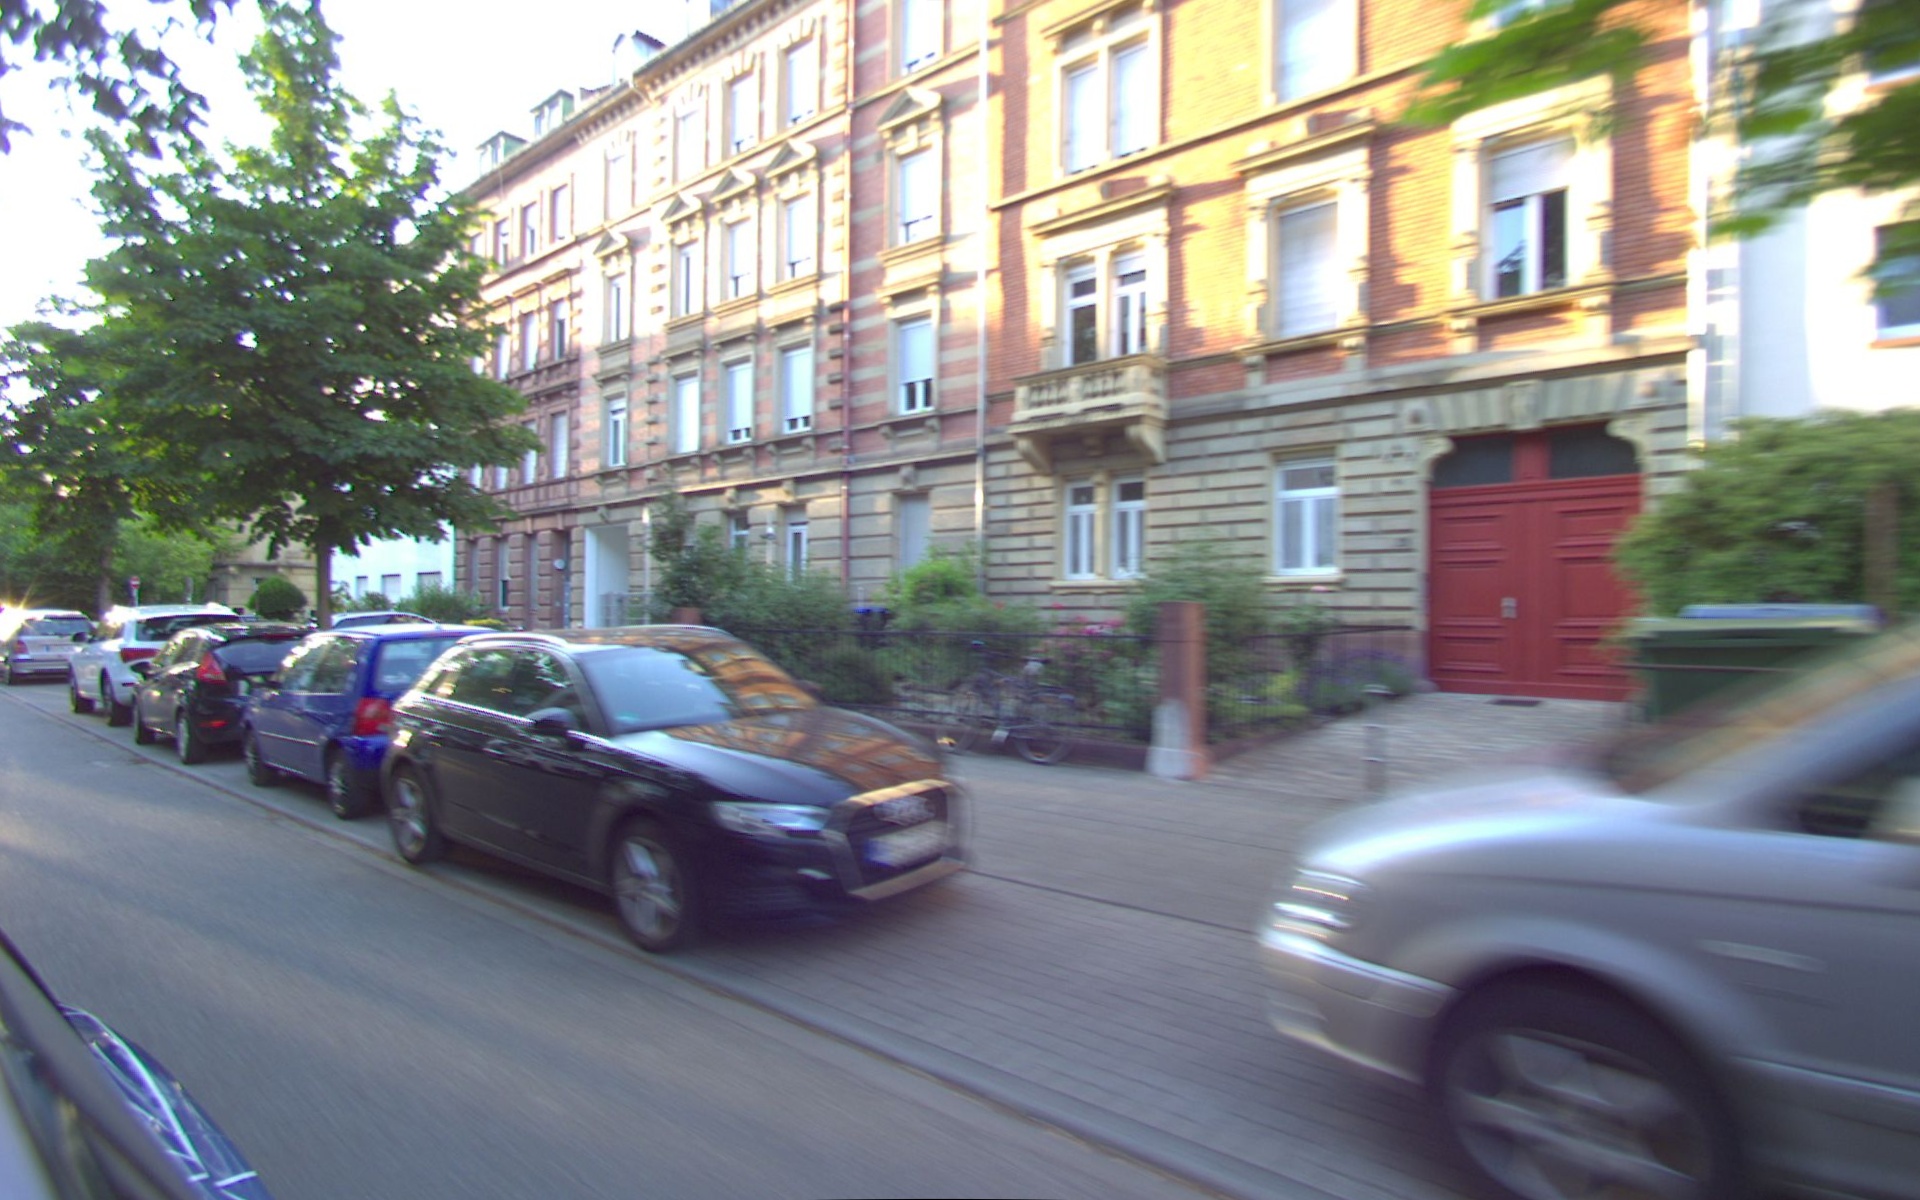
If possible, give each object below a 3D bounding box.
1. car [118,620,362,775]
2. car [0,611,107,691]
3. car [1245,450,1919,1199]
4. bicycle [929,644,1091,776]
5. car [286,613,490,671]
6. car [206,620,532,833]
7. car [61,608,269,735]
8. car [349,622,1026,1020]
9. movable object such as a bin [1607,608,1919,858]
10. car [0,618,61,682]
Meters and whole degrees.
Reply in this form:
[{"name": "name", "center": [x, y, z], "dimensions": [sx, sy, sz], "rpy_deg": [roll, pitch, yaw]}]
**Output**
[{"name": "car", "center": [-8.545, 1.006, 11.907], "dimensions": [3.625, 1.510, 1.659], "rpy_deg": [-1, -1, 43]}, {"name": "car", "center": [-20.925, 1.085, 22.958], "dimensions": [3.936, 1.649, 1.657], "rpy_deg": [-1, -1, 38]}, {"name": "car", "center": [3.140, 0.607, 2.014], "dimensions": [4.620, 1.792, 1.843], "rpy_deg": [-1, -1, 40]}, {"name": "bicycle", "center": [0.450, 1.010, 9.720], "dimensions": [1.633, 1.118, 0.451], "rpy_deg": [-1, 0, 42]}, {"name": "car", "center": [-14.810, 1.036, 26.408], "dimensions": [1.625, 1.351, 4.355], "rpy_deg": [-1, -1, 41]}, {"name": "car", "center": [-5.268, 0.942, 8.884], "dimensions": [3.295, 1.505, 1.423], "rpy_deg": [-1, -1, 39]}, {"name": "car", "center": [-12.177, 0.962, 15.415], "dimensions": [4.020, 1.675, 1.842], "rpy_deg": [-1, -1, 42]}, {"name": "car", "center": [-1.751, 0.867, 5.745], "dimensions": [4.020, 1.452, 1.711], "rpy_deg": [-1, -1, 39]}, {"name": "movable object such as a bin", "center": [5.139, 0.760, 6.528], "dimensions": [1.549, 1.398, 0.937], "rpy_deg": [-1, 0, 38]}, {"name": "car", "center": [-24.265, 1.233, 25.749], "dimensions": [3.984, 1.504, 1.486], "rpy_deg": [-1, -1, 39]}]
